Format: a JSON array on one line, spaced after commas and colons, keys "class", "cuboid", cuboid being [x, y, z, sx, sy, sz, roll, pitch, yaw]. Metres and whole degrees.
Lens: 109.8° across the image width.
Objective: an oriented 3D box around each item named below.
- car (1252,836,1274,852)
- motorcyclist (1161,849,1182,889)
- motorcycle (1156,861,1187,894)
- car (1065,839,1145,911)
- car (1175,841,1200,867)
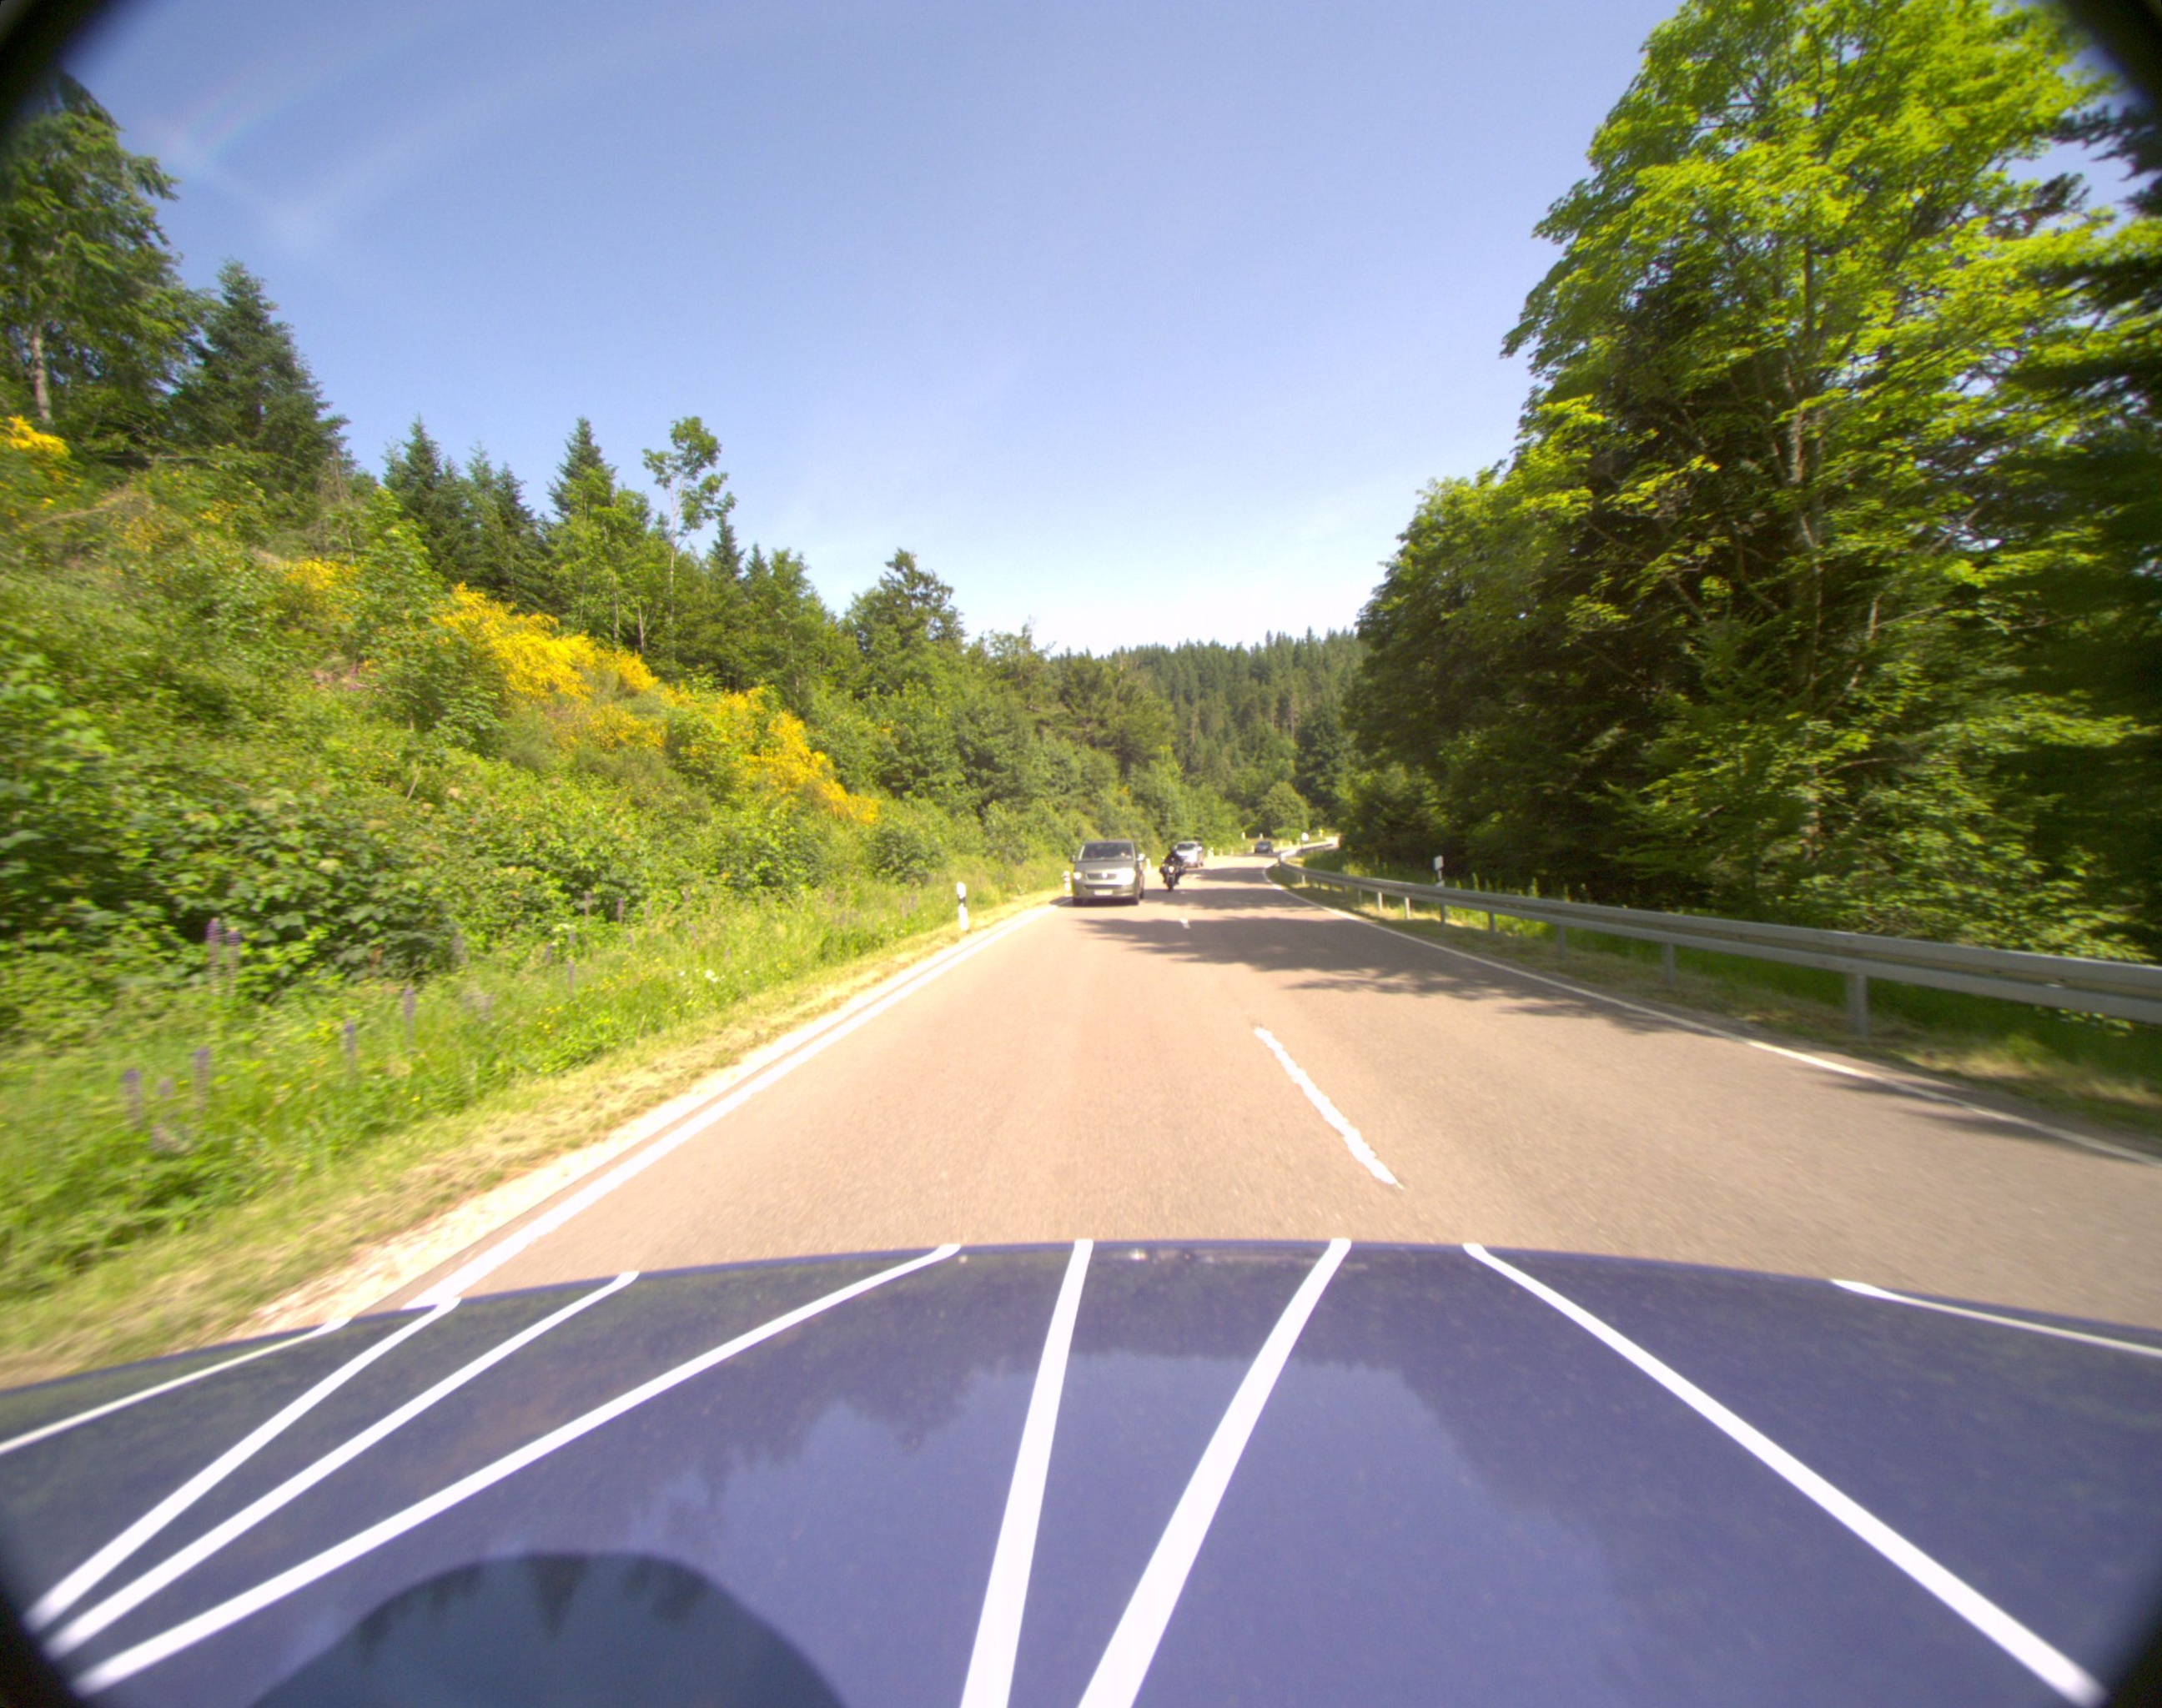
[{"class": "car", "cuboid": [21.605, -1.213, 90.080, 1.995, 1.634, 4.005, -2, 2, 22]}, {"class": "motorcyclist", "cuboid": [3.393, 0.540, 28.460, 0.716, 1.422, 0.999, -3, 1, 7]}, {"class": "motorcycle", "cuboid": [3.390, 0.855, 28.405, 1.109, 1.117, 1.962, -1, 0, 7]}, {"class": "car", "cuboid": [0.859, 0.555, 23.237, 2.028, 1.940, 4.901, -1, 1, 6]}, {"class": "car", "cuboid": [7.803, -0.020, 55.330, 1.651, 1.749, 3.796, -1, 2, 9]}]
